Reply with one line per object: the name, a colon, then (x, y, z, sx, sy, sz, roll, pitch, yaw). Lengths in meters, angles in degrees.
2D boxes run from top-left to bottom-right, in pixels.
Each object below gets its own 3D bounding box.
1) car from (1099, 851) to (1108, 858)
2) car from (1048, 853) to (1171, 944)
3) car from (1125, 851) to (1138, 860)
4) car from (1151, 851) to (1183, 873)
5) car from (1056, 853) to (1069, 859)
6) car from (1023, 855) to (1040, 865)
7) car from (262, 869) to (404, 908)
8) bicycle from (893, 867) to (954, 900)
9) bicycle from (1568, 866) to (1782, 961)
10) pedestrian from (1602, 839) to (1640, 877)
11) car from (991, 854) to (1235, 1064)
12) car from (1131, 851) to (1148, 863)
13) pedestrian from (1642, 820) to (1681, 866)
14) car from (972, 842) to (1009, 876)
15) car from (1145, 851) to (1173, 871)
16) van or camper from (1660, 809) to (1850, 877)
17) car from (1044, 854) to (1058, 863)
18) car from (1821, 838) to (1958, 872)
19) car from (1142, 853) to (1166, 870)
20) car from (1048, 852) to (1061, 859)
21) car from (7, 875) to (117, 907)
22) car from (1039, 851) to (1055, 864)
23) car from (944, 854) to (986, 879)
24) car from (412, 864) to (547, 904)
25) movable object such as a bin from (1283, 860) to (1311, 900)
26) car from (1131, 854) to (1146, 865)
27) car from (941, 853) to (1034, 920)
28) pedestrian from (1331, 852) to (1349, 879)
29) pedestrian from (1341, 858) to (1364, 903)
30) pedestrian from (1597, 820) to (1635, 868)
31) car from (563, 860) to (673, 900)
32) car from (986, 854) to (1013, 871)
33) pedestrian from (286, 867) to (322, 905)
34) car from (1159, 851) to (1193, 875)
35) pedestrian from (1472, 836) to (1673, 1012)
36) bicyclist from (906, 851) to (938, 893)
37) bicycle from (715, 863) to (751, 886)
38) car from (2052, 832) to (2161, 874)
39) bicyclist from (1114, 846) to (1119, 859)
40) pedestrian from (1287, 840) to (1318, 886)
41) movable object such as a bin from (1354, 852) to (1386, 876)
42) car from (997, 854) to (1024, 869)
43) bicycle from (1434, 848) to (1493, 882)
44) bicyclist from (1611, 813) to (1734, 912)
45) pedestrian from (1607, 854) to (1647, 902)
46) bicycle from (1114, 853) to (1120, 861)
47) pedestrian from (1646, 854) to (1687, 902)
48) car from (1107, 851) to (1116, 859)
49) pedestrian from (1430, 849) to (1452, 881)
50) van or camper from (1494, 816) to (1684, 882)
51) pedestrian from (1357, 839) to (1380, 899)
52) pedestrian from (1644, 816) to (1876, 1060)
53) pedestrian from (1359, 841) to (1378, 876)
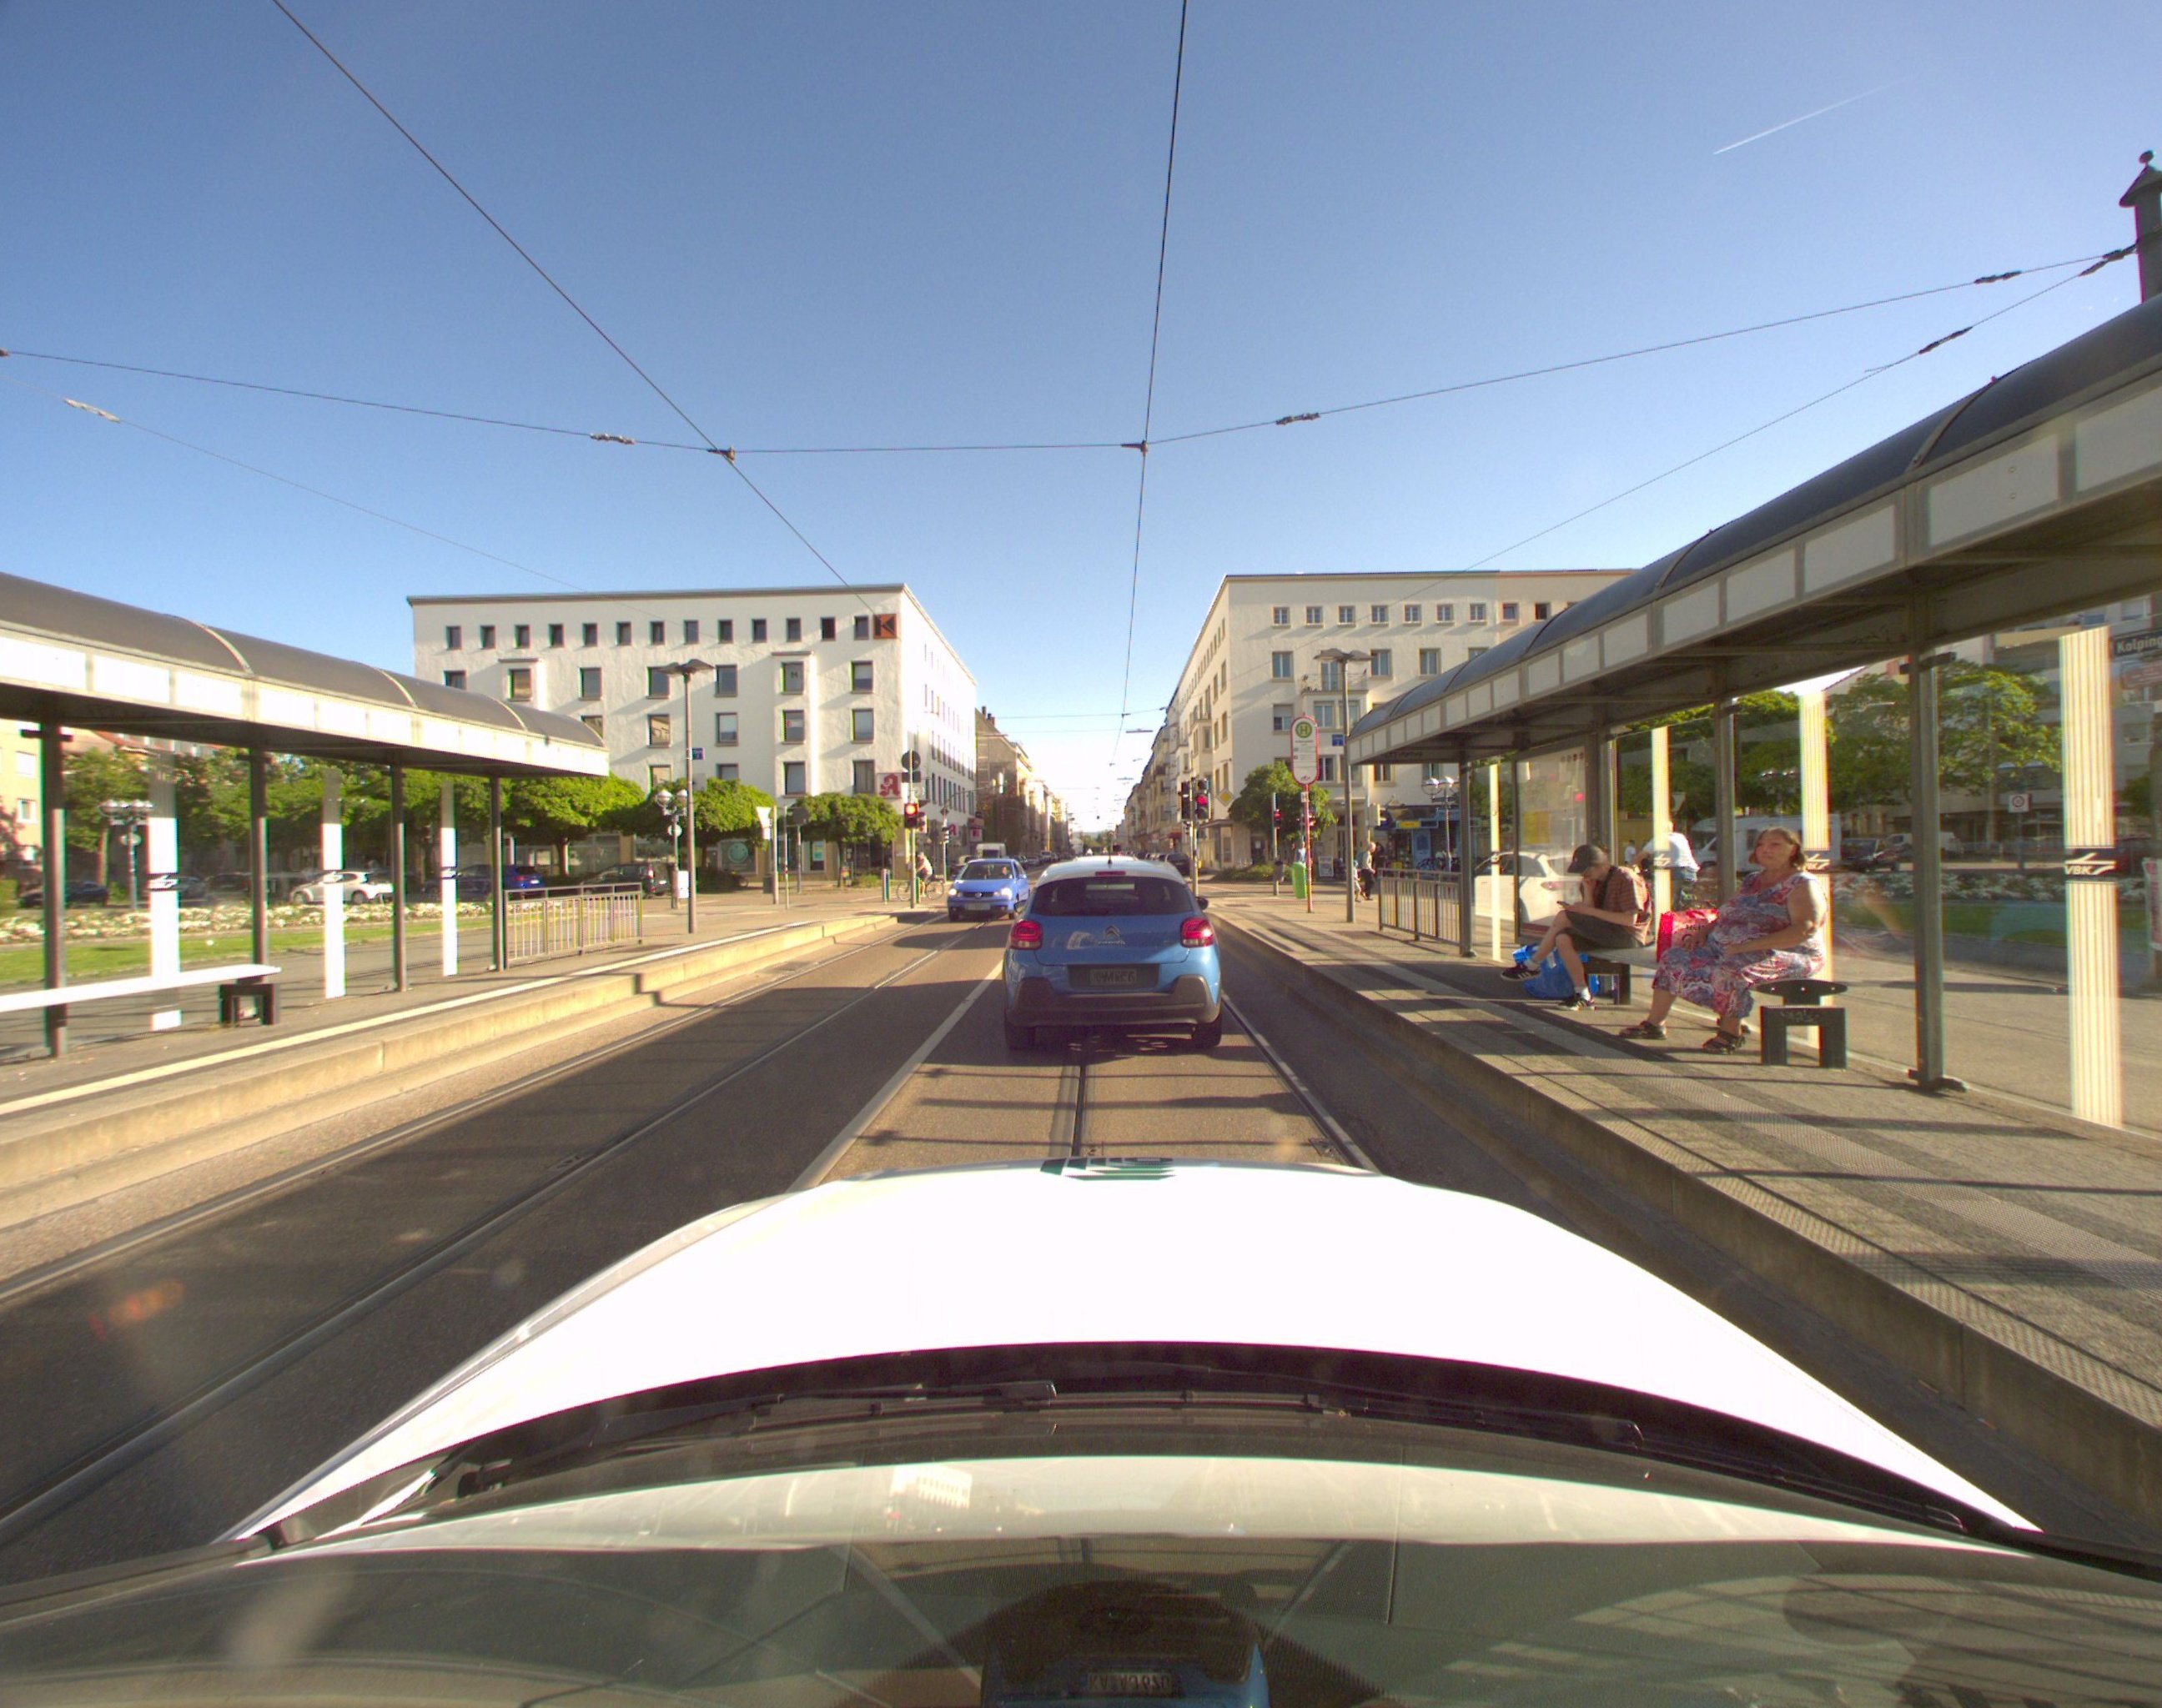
car: (5.915, 0.192, 214.565, 1.988, 1.778, 3.997, -1, 0, -2)
car: (0.529, 0.725, 15.583, 1.977, 1.464, 4.817, 0, 0, 2)
car: (8.301, 0.242, 134.160, 1.986, 1.464, 4.002, -1, 0, 2)
car: (6.089, 0.520, 57.810, 1.986, 1.464, 4.002, -1, 0, 2)
car: (-4.300, 0.455, 185.970, 1.981, 1.156, 4.528, -1, 0, 11)
car: (-6.355, 0.789, 104.772, 1.987, 1.325, 3.923, 0, -1, 1)
car: (-33.475, 1.527, 36.550, 4.591, 1.606, 1.855, -1, 0, -1)
bicycle: (-5.548, 1.030, 28.756, 1.984, 1.113, 0.723, 0, 0, -33)
bicycle: (7.697, 0.709, 10.727, 0.720, 1.061, 2.309, 1, 0, -17)
pedestrian: (18.692, 0.134, 28.206, 0.896, 1.279, 0.606, -1, 0, 8)
car: (0.283, 0.739, 7.670, 1.721, 1.482, 3.828, 0, 0, 2)
car: (7.438, 0.343, 103.074, 1.985, 1.464, 4.507, -1, 0, 2)
pedestrian: (20.352, -0.370, 28.572, 0.897, 1.585, 0.663, -1, 0, 5)
car: (-7.071, 0.344, 64.085, 2.078, 2.542, 6.206, 0, 0, 1)
car: (6.087, 0.550, 63.916, 1.986, 1.501, 4.002, -1, 0, 2)
van or camper: (30.161, -0.480, 36.656, 6.375, 2.839, 2.381, -1, 0, 5)
car: (-5.021, 0.766, 137.947, 1.946, 1.552, 3.942, 0, -1, 4)
car: (36.632, 0.062, 37.035, 3.959, 1.511, 2.007, 0, -1, 13)
car: (6.580, 0.676, 73.742, 1.986, 1.464, 4.002, -1, 0, 2)
car: (-4.898, 0.261, 152.069, 1.986, 1.156, 4.002, -1, 0, 2)
car: (-52.417, 1.855, 42.025, 1.925, 1.494, 4.314, 0, -1, -27)
car: (-5.311, 0.489, 128.255, 1.997, 2.014, 4.694, 0, -1, 4)
car: (-7.609, 0.809, 53.727, 1.987, 1.569, 4.403, 2, 0, 1)
car: (-27.332, 1.362, 37.113, 4.591, 1.662, 1.999, -1, 0, -1)
movable object such as a bin: (4.381, 0.518, 16.517, 0.447, 0.786, 0.489, -1, 0, 4)
car: (7.797, 0.775, 110.939, 1.985, 1.464, 4.003, -1, 0, 3)
car: (-2.221, 0.734, 20.396, 1.660, 1.487, 4.003, 0, 0, 3)
pedestrian: (12.691, 0.558, 39.877, 0.733, 1.316, 0.631, -1, 0, 25)
pedestrian: (7.526, 0.720, 22.575, 0.554, 1.225, 0.528, 0, -1, 12)
pedestrian: (18.978, -0.349, 28.915, 0.897, 1.685, 0.696, -1, 0, 6)
car: (-21.207, 1.163, 37.408, 3.972, 1.706, 1.826, -1, 0, 1)
car: (-7.054, 0.743, 70.861, 1.881, 1.496, 3.562, 0, -1, 1)
pedestrian: (-38.159, 1.543, 39.997, 0.938, 1.817, 0.872, -1, 0, 13)
car: (6.195, 0.585, 53.353, 1.902, 1.464, 4.002, -1, 0, 2)
pedestrian: (3.743, 0.504, 6.299, 0.995, 1.225, 0.923, 2, -1, 2)
bicyclist: (-5.599, 0.624, 28.732, 0.880, 1.455, 0.822, 0, -1, -32)
bicycle: (-19.067, 1.130, 44.681, 0.615, 1.190, 2.624, -1, 0, 5)
car: (38.759, -0.058, 30.014, 3.983, 1.486, 1.995, -1, 0, -7)
bicyclist: (5.874, -0.253, 133.491, 0.806, 2.014, 0.923, 0, -1, 1)
pedestrian: (9.234, 0.385, 34.006, 0.978, 1.878, 1.128, -1, -1, -1)
movable object such as a bin: (14.544, 0.513, 41.006, 1.194, 1.153, 1.218, -1, 0, 2)
car: (-6.820, 0.748, 79.461, 1.984, 1.398, 4.162, 0, -1, 4)
bicycle: (17.627, 0.481, 37.534, 2.376, 1.531, 0.726, 1, 0, 0)
bicyclist: (7.735, 0.109, 10.679, 0.953, 1.225, 0.928, 1, 0, -18)
pedestrian: (18.480, 0.793, 27.578, 0.897, 1.585, 0.663, -1, 0, 5)
bicycle: (5.891, 0.475, 133.356, 0.916, 1.389, 3.133, -1, 0, 2)
pedestrian: (19.631, 0.788, 27.312, 0.897, 1.585, 0.663, -1, 0, 5)
car: (6.641, 0.196, 176.141, 1.986, 1.772, 4.002, -1, 0, 2)
pedestrian: (16.639, 0.499, 37.639, 0.727, 1.409, 0.755, -1, 3, 2)
van or camper: (22.894, -0.252, 36.916, 7.093, 2.747, 2.372, -1, 1, 2)
pedestrian: (8.402, 0.441, 23.811, 0.554, 1.745, 0.528, 0, -1, 12)
pedestrian: (4.022, 0.471, 4.876, 0.855, 1.334, 0.623, 2, -1, 1)
pedestrian: (15.267, 0.224, 43.196, 0.781, 1.839, 0.679, -1, 0, 5)
